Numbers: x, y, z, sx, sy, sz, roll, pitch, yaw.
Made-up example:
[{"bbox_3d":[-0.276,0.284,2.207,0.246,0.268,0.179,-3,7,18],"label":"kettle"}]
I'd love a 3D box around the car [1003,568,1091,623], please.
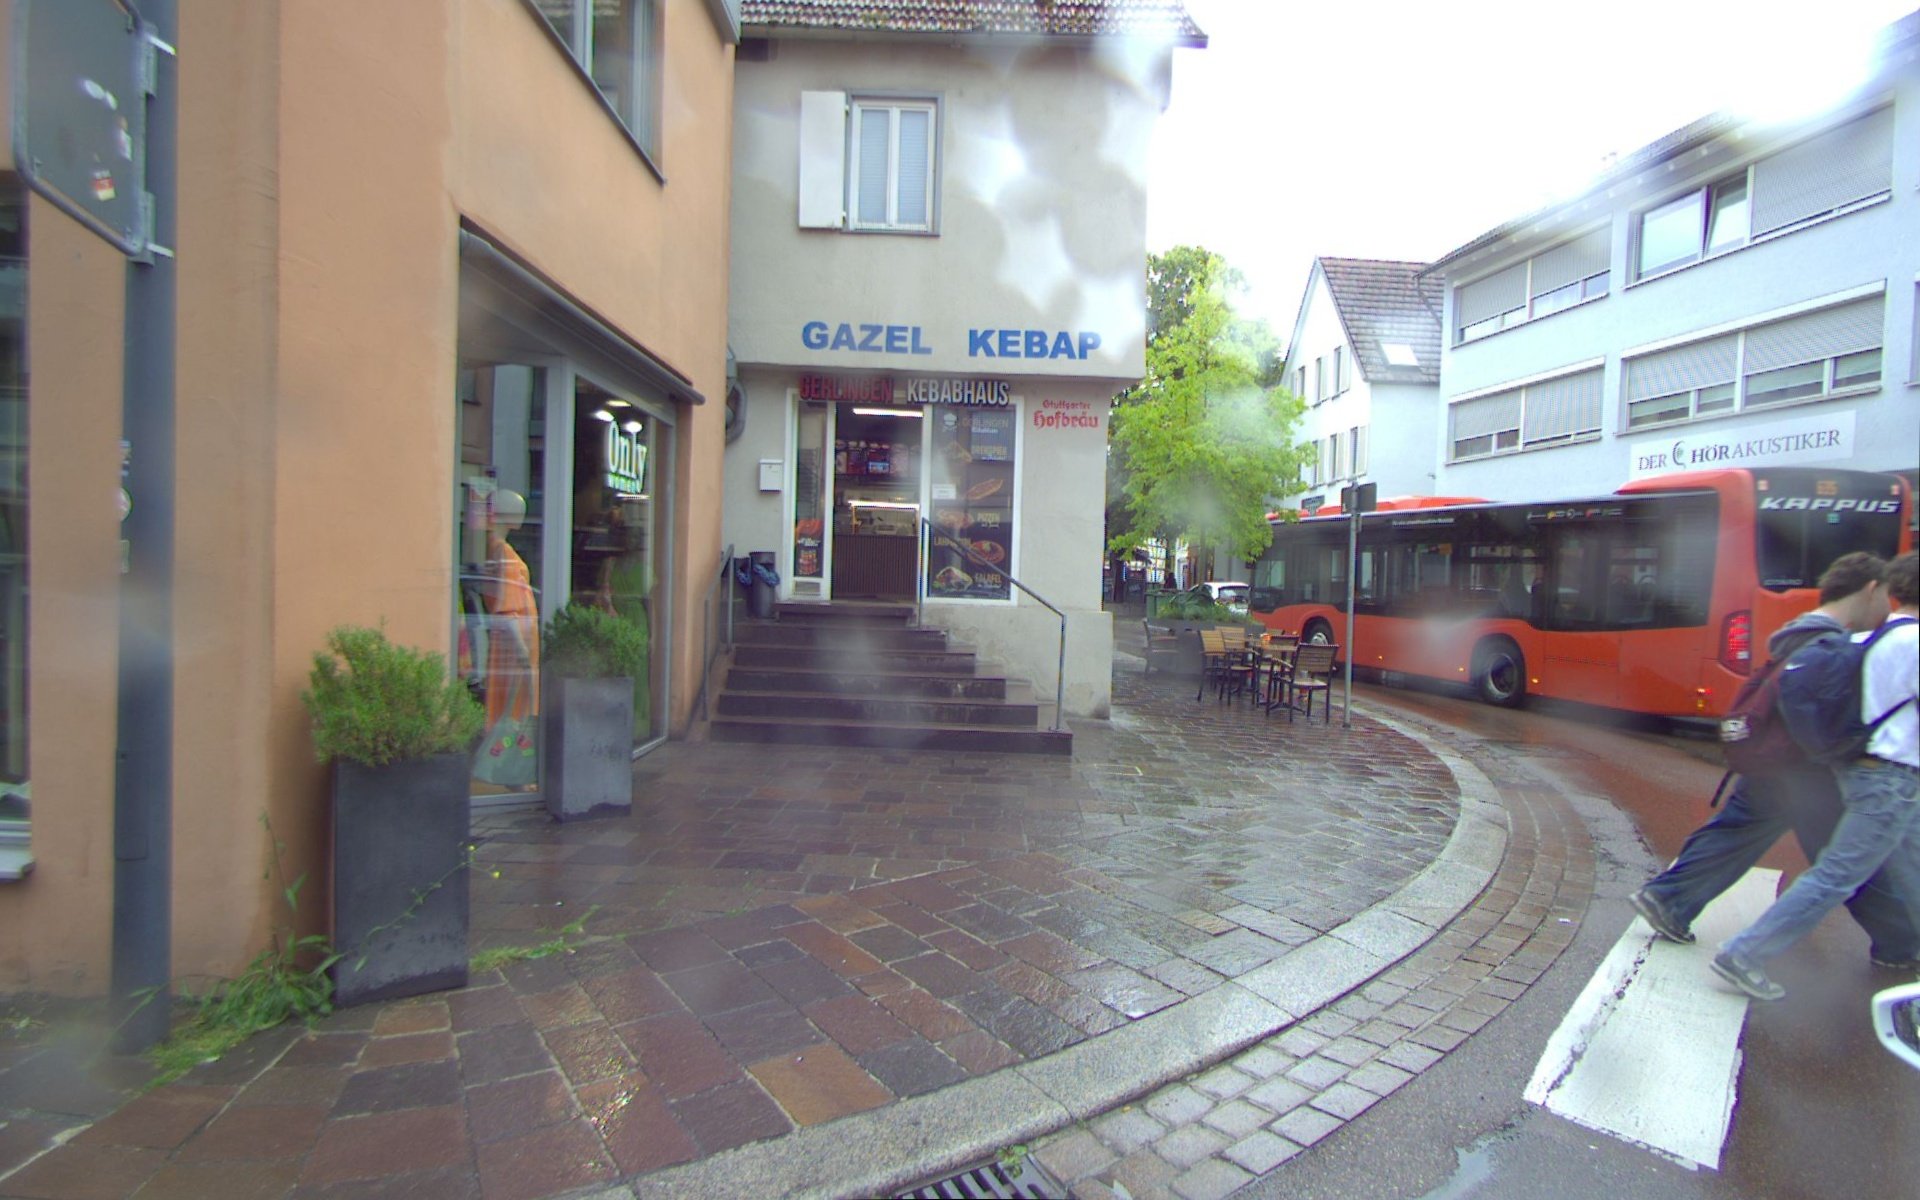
[{"bbox_3d":[3.051,-0.231,36.266,1.918,1.805,4.715,0,2,-11],"label":"car"}]

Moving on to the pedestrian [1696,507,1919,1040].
[{"bbox_3d":[3.566,0.611,3.770,1.039,1.831,0.666,2,1,5],"label":"pedestrian"}]

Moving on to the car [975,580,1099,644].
[{"bbox_3d":[1.979,0.280,27.053,1.702,1.433,3.959,3,1,-22],"label":"car"}]

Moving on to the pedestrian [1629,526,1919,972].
[{"bbox_3d":[3.771,0.615,4.501,1.037,1.824,0.695,1,1,5],"label":"pedestrian"}]

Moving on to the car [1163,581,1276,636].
[{"bbox_3d":[7.858,0.226,30.822,1.769,1.516,3.851,2,0,-13],"label":"car"}]

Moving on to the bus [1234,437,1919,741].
[{"bbox_3d":[8.217,-0.273,15.827,2.773,3.130,10.578,1,2,-13],"label":"bus"}]
